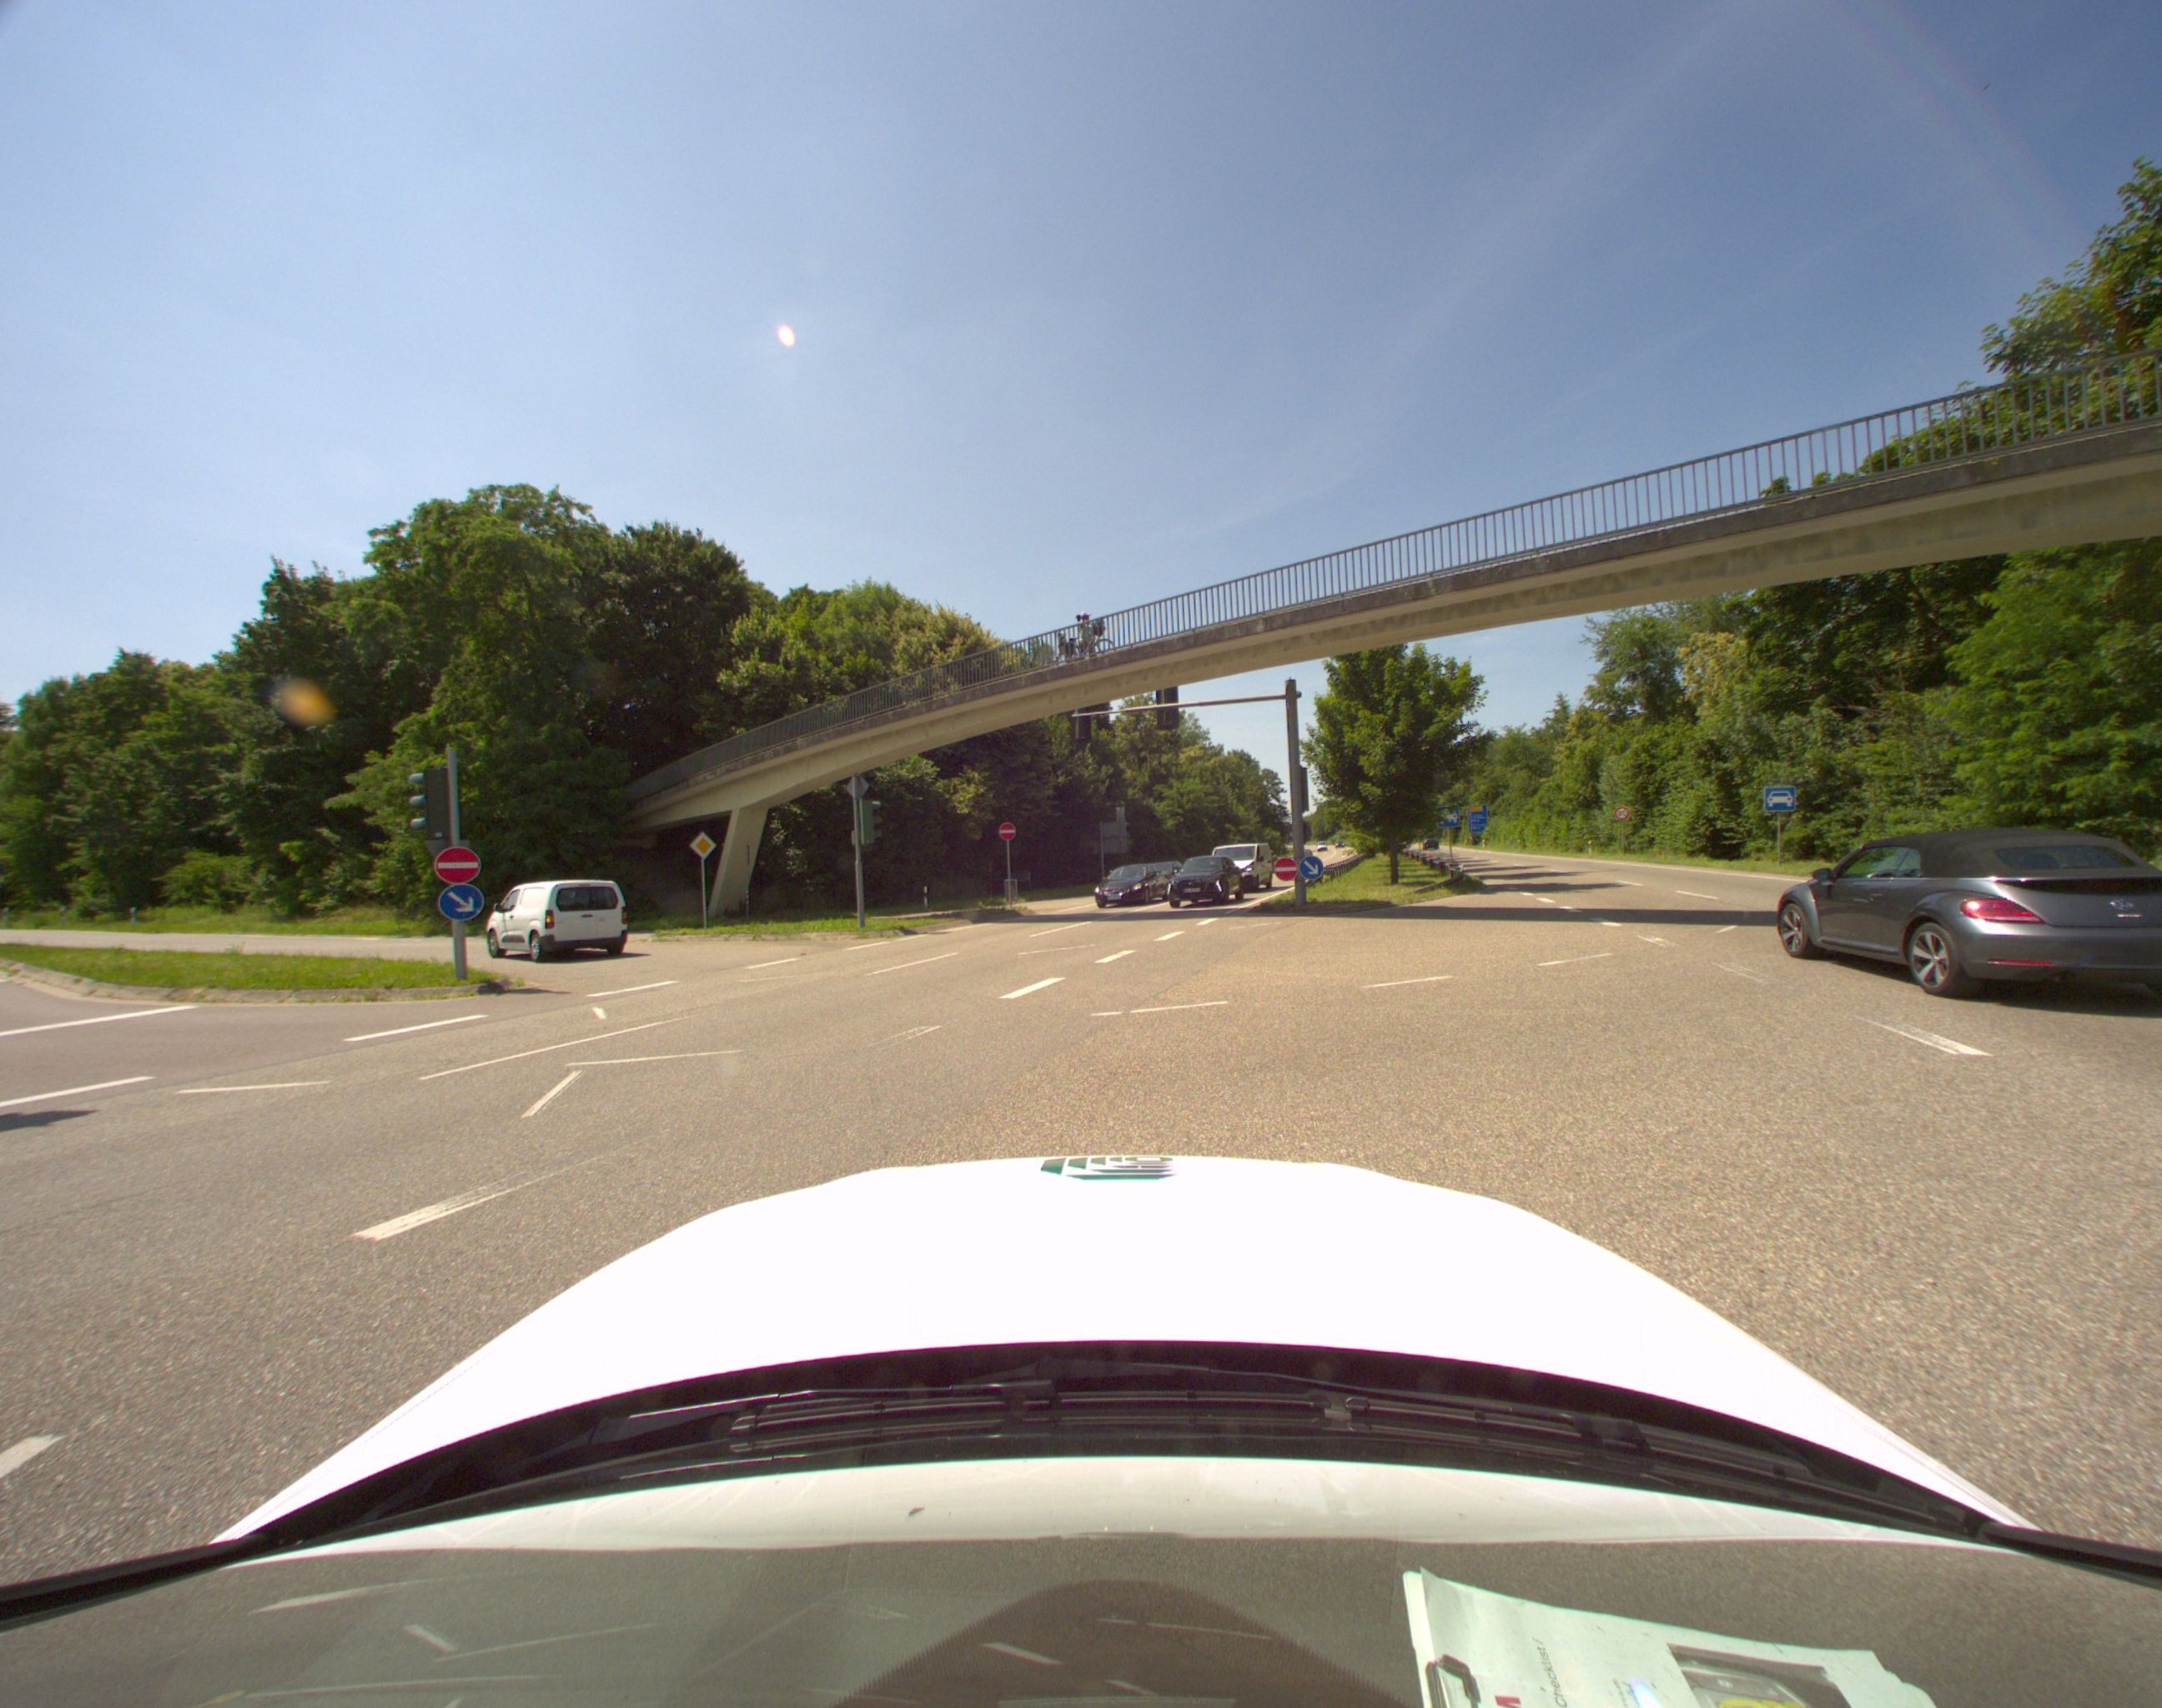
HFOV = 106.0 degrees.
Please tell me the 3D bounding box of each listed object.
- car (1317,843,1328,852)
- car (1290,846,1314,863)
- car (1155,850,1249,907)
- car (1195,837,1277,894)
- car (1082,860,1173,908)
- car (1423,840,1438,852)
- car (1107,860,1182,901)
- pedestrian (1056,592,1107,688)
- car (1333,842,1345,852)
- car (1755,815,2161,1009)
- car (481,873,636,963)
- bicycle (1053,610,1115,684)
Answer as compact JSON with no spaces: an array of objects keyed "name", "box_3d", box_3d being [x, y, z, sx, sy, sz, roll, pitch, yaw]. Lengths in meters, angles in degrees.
[{"name":"car","box_3d":[47.973,-1.256,161.794,1.979,1.750,4.016,-1,0,15]},{"name":"car","box_3d":[23.854,0.036,87.672,1.991,1.601,4.077,-4,-1,21]},{"name":"car","box_3d":[3.910,0.726,25.789,1.976,1.523,4.049,-5,-1,21]},{"name":"car","box_3d":[6.457,0.423,33.366,2.189,1.993,5.517,-4,-1,21]},{"name":"car","box_3d":[1.757,1.035,29.312,1.991,1.460,4.077,-4,-1,21]},{"name":"car","box_3d":[53.036,-1.178,123.527,2.023,1.699,5.115,-3,0,24]},{"name":"car","box_3d":[2.749,1.082,34.460,1.991,1.460,4.077,-4,-1,21]},{"name":"pedestrian","box_3d":[0.021,-5.468,20.947,0.774,2.140,0.937,-5,-3,37]},{"name":"car","box_3d":[56.224,-1.457,177.747,1.981,2.014,4.012,-1,0,11]},{"name":"car","box_3d":[8.744,0.428,8.158,1.884,1.478,3.960,-2,0,21]},{"name":"car","box_3d":[-12.412,1.494,19.265,3.929,1.825,1.867,-4,-1,39]},{"name":"bicycle","box_3d":[0.059,-5.199,20.571,1.511,1.474,0.472,-5,-3,37]}]
